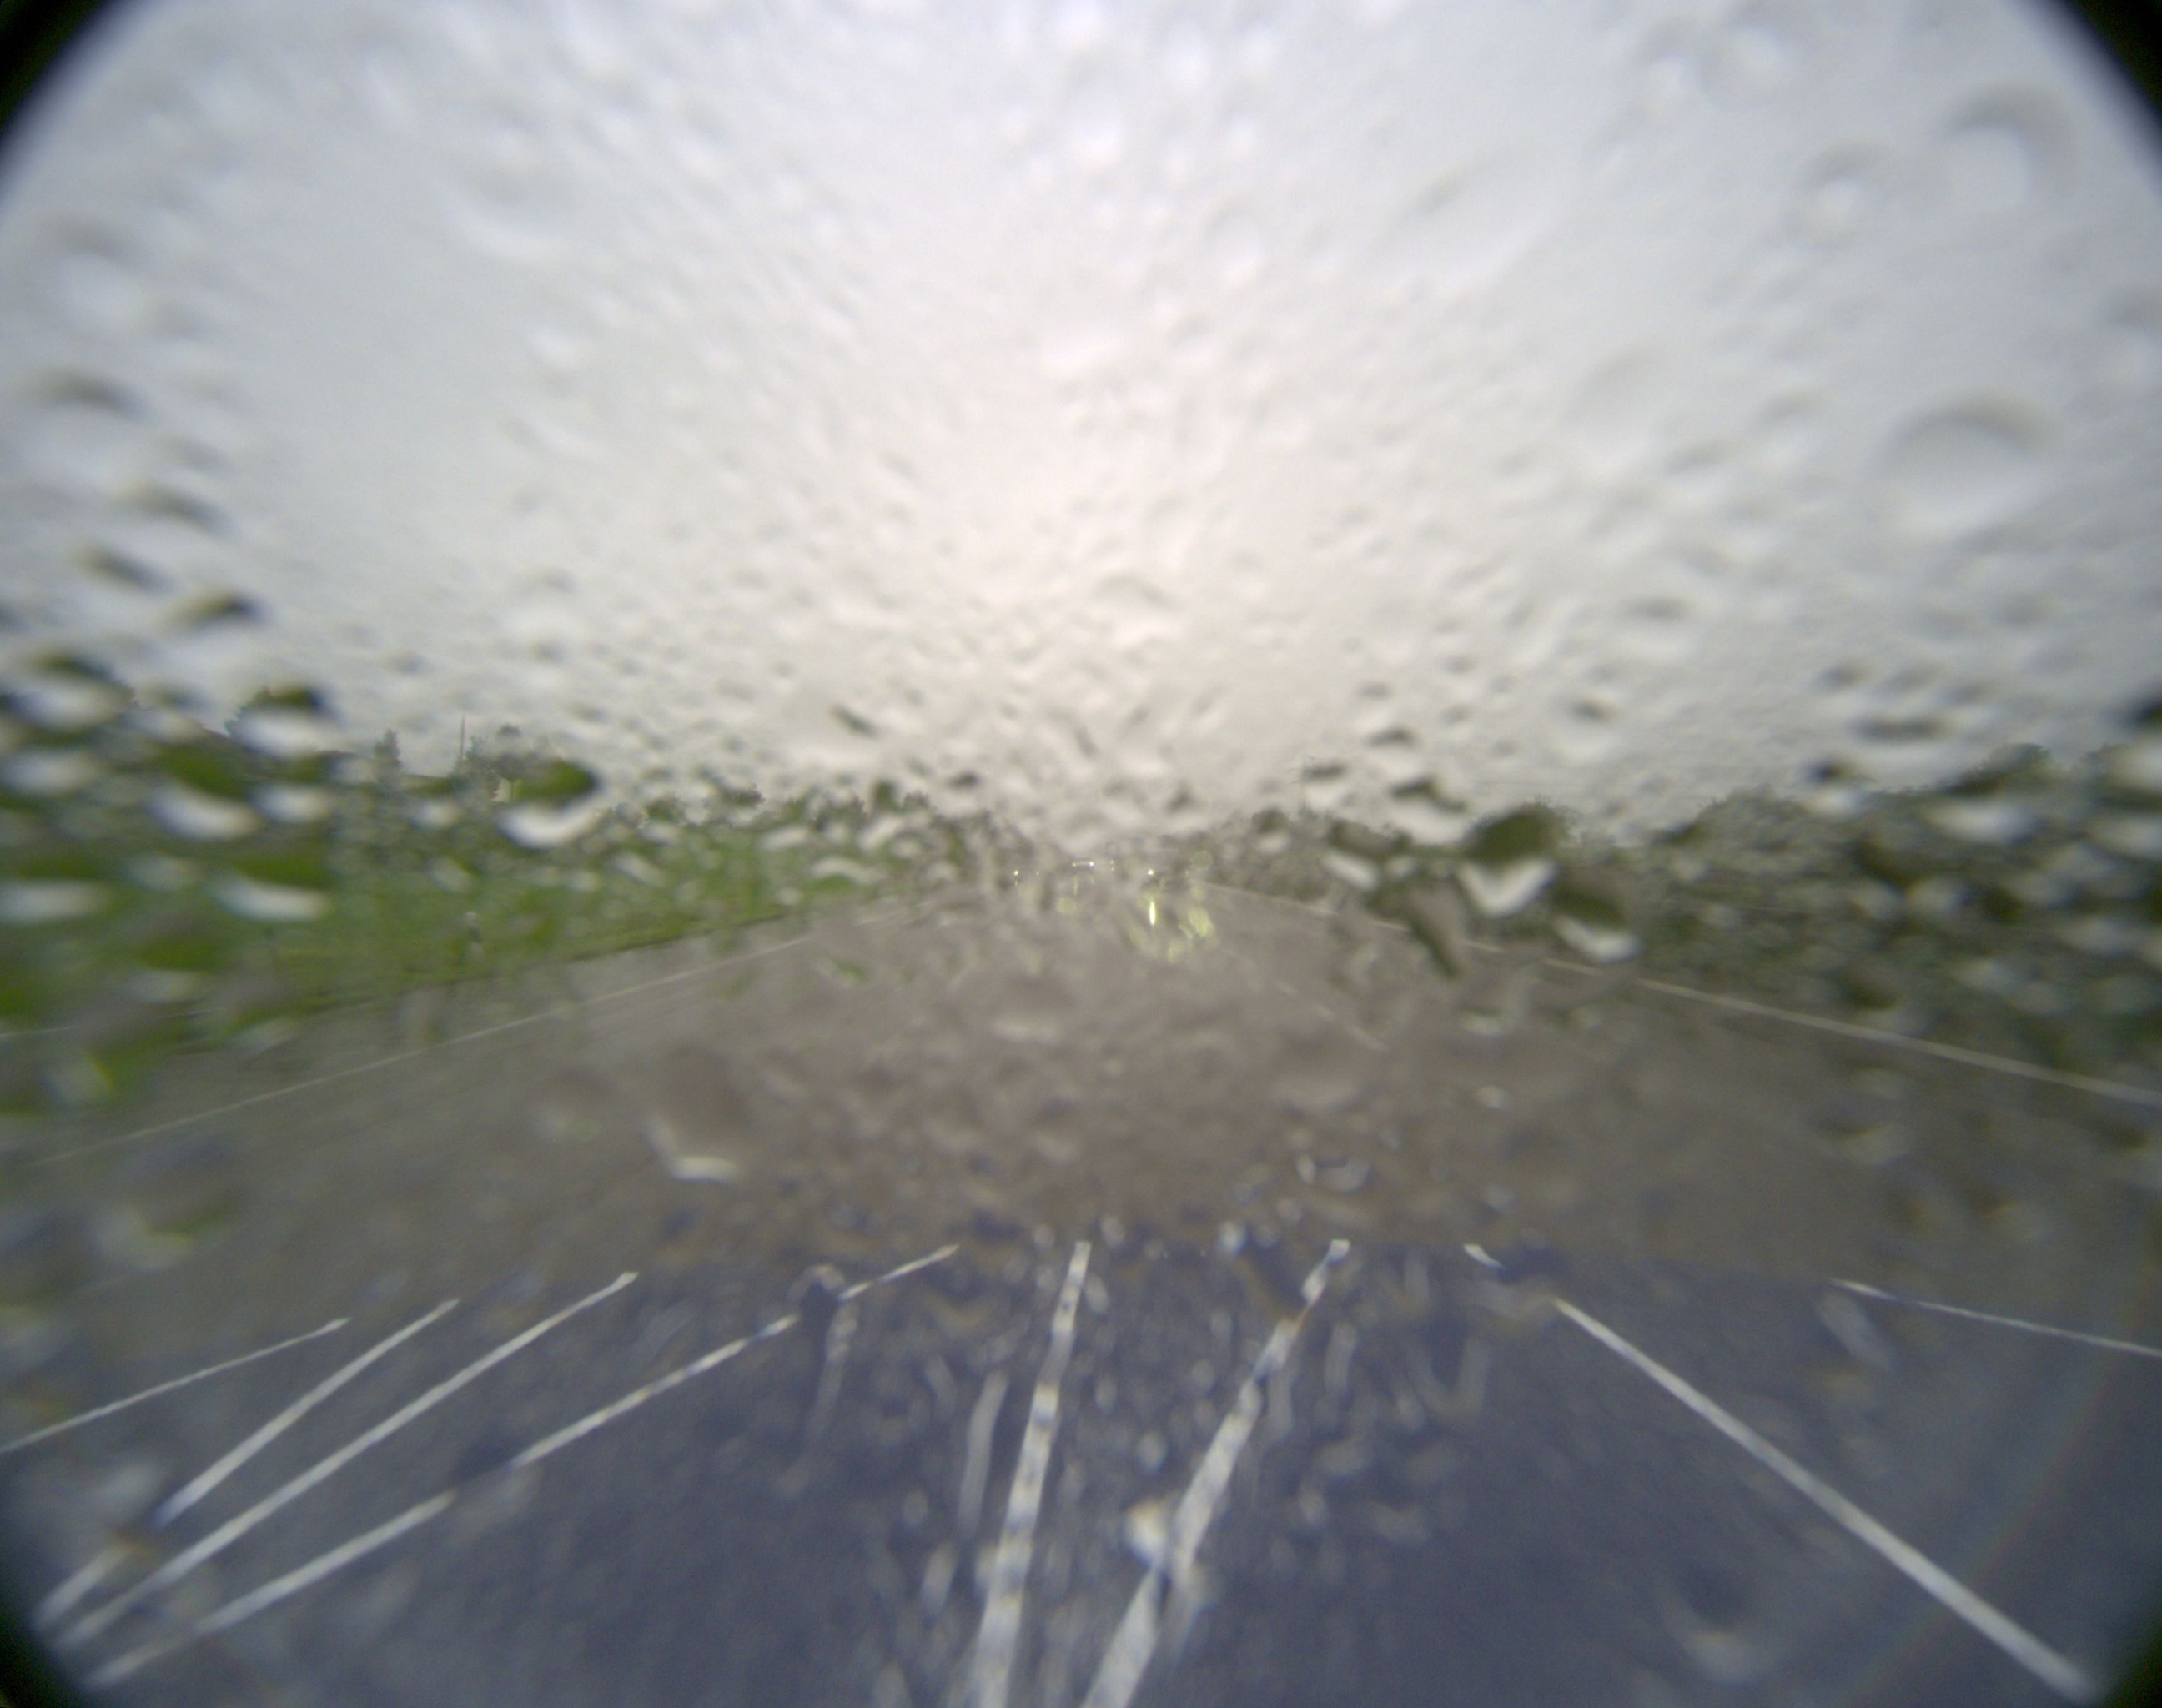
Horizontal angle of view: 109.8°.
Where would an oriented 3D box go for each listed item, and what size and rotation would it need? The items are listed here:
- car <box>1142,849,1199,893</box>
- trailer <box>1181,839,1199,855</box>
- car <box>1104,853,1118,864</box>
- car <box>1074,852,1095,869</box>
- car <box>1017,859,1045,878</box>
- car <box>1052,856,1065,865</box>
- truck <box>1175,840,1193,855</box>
[{"bbox_3d":[3.915,0.708,33.853,2.047,1.763,4.500,-1,1,1],"label":"car"},{"bbox_3d":[21.735,-1.381,151.936,2.252,3.047,8.264,-2,1,1],"label":"trailer"},{"bbox_3d":[4.319,0.654,109.693,1.753,1.369,4.000,-2,0,0],"label":"car"},{"bbox_3d":[0.297,0.573,68.408,1.753,1.406,3.999,-2,1,0],"label":"car"},{"bbox_3d":[-3.635,1.067,56.107,1.753,1.205,3.999,-2,1,0],"label":"car"},{"bbox_3d":[-3.499,0.991,117.656,1.753,1.205,3.999,-2,1,0],"label":"car"},{"bbox_3d":[21.856,-1.460,161.385,2.245,3.019,10.615,-2,1,1],"label":"truck"}]
